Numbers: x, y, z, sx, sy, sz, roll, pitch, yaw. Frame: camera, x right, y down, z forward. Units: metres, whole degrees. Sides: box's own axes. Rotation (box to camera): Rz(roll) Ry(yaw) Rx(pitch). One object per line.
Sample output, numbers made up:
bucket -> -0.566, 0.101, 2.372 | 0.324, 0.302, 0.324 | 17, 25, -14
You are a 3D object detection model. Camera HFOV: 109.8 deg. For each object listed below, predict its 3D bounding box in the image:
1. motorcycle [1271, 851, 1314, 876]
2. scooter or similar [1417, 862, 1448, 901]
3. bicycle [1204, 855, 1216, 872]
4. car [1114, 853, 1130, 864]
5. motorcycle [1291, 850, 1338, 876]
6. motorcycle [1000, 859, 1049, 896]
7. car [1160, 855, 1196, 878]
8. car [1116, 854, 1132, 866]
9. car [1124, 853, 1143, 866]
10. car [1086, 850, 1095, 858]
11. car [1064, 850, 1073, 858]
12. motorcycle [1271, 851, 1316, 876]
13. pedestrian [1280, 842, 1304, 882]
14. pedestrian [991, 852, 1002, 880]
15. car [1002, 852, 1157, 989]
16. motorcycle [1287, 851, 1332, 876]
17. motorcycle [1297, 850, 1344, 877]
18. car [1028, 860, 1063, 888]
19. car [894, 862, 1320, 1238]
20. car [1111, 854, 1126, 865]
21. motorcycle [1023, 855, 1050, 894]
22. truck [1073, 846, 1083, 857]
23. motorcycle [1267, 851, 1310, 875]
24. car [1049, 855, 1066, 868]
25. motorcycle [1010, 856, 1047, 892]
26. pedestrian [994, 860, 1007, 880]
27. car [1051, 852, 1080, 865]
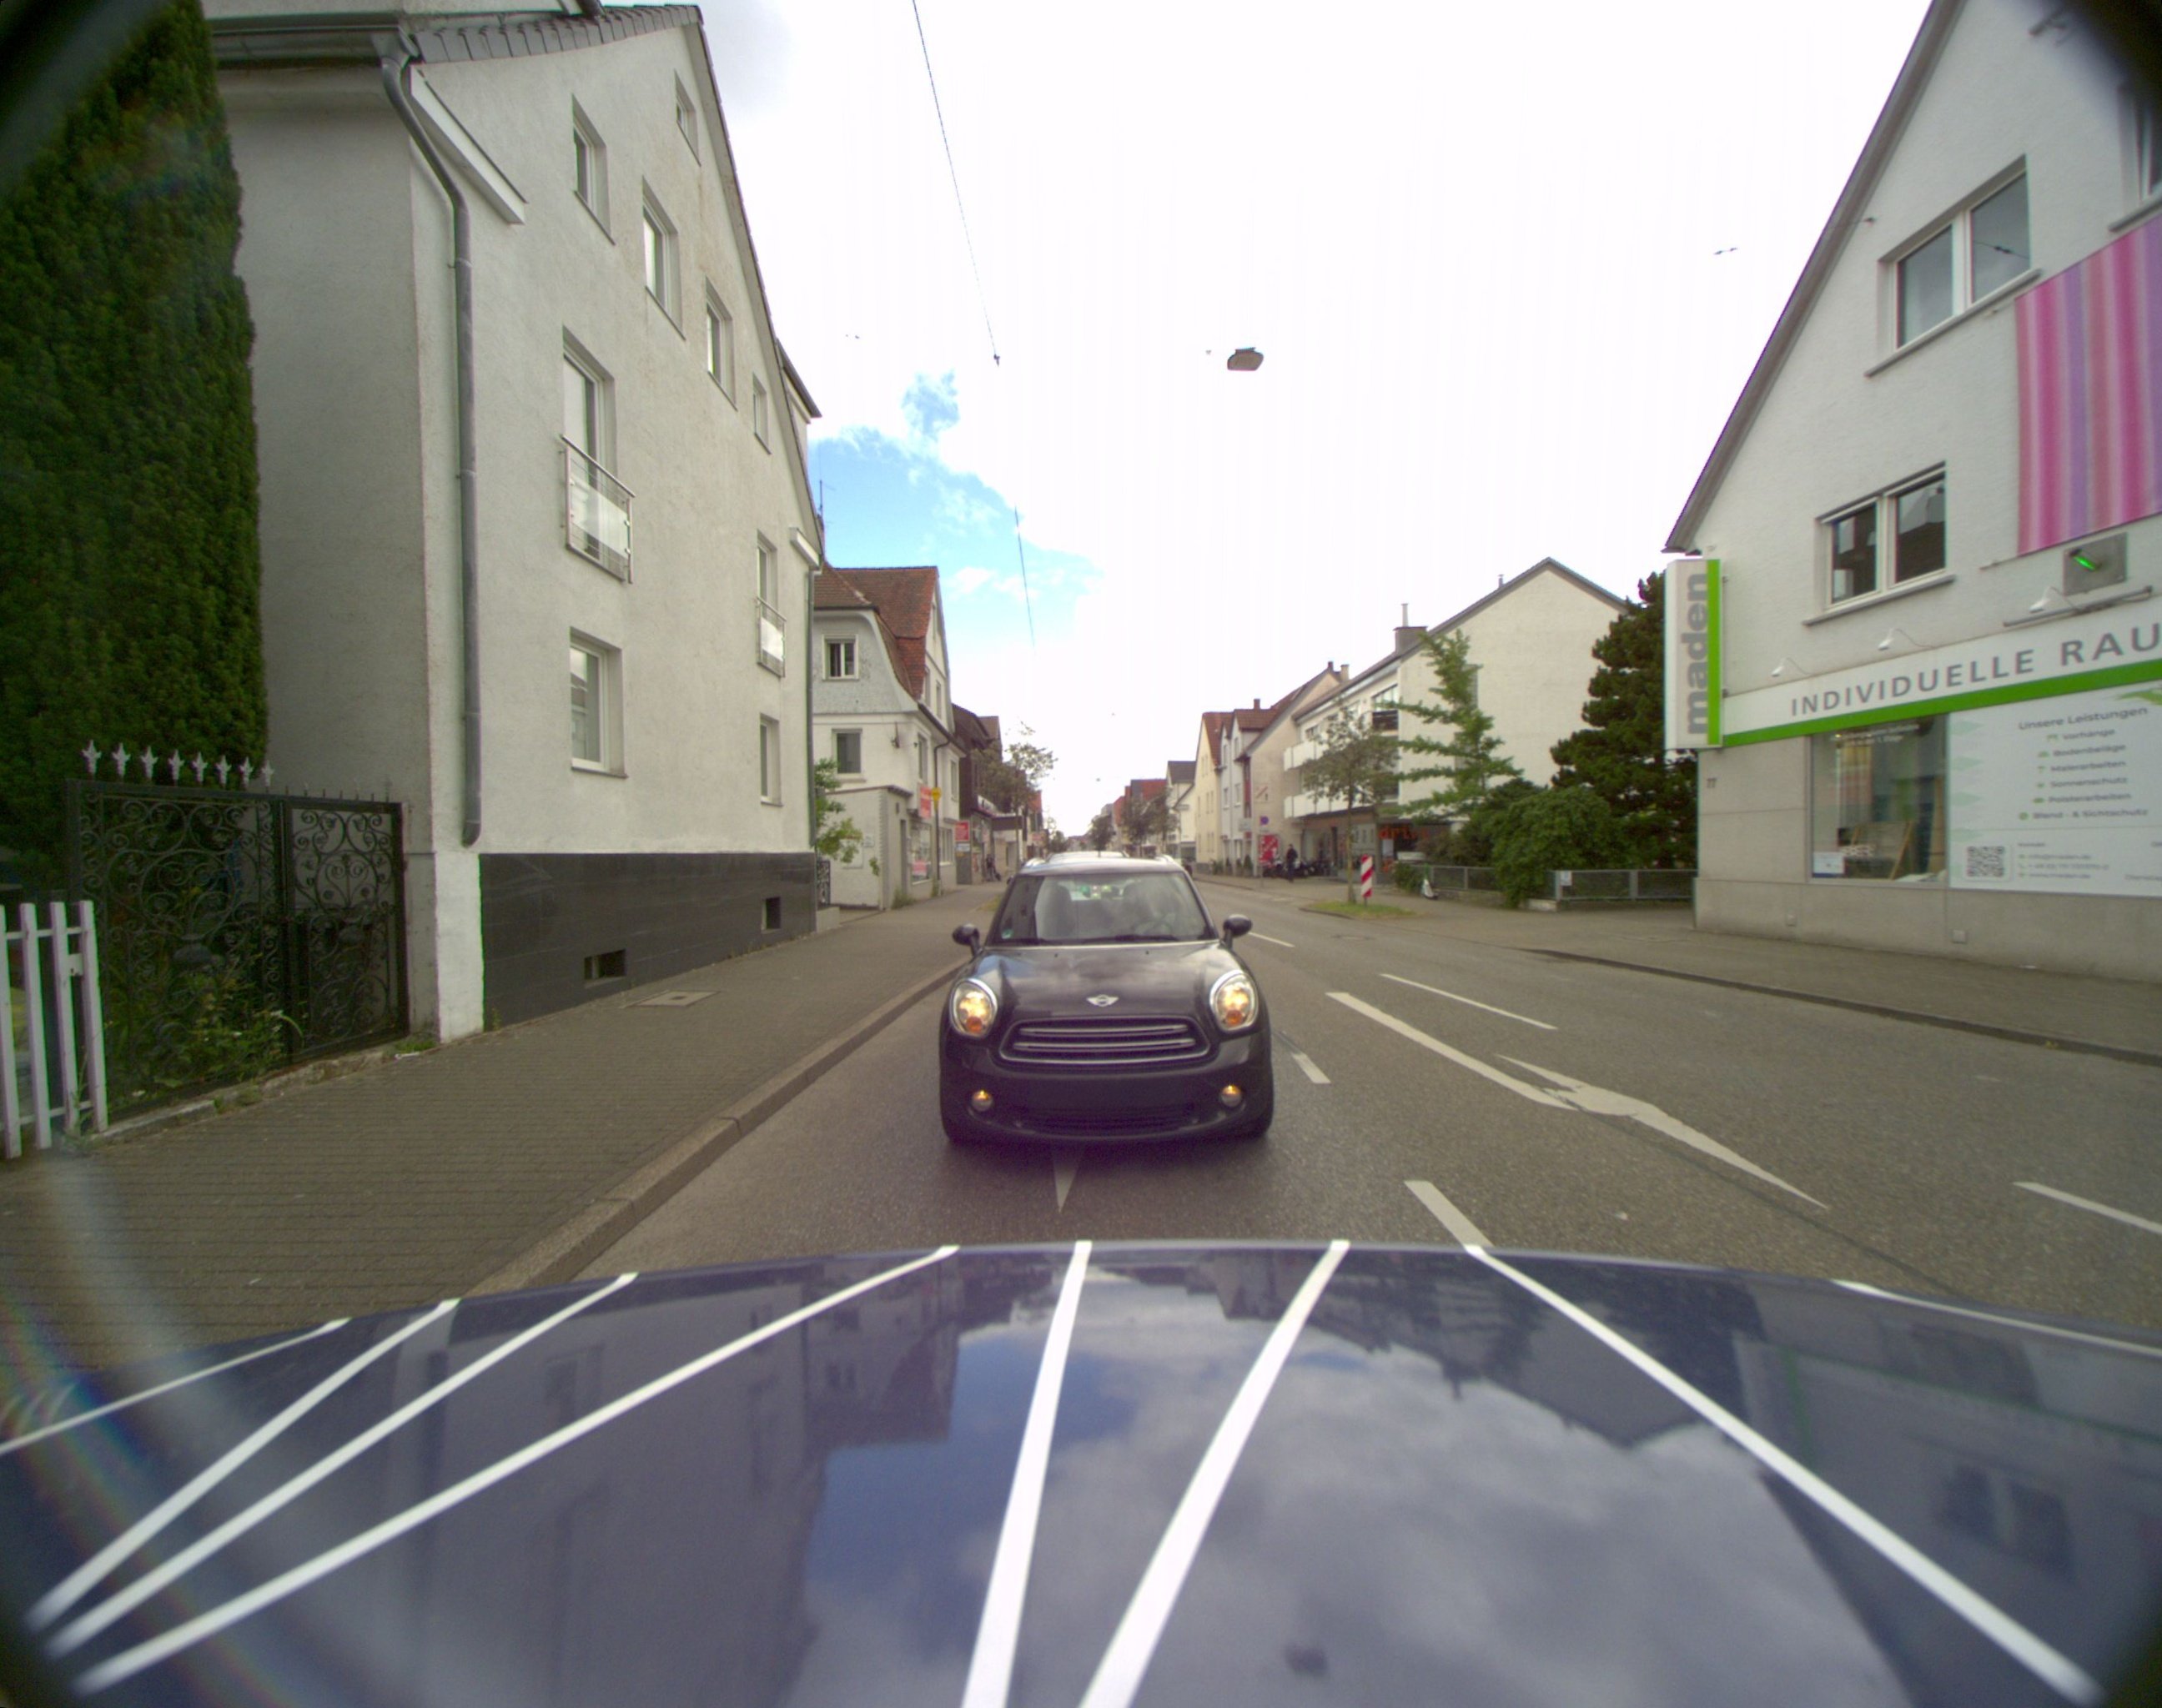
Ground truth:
motorcycle -> 12.022, 0.523, 43.258 | 2.231, 1.258, 0.613 | -4, 1, -2
scooter or similar -> 10.362, 0.804, 22.432 | 0.340, 1.105, 1.180 | -2, 1, 0
bicycle -> 9.411, 0.693, 55.472 | 0.515, 1.189, 2.023 | -2, 1, -1
car -> 5.469, 0.593, 102.146 | 1.716, 1.389, 3.899 | -2, 0, -2
motorcycle -> 12.554, 0.496, 40.883 | 2.231, 1.258, 0.613 | -4, 1, -2
motorcycle -> -2.207, 0.889, 29.330 | 0.777, 1.373, 2.237 | -2, 1, -37
car -> 6.441, 0.807, 50.977 | 1.792, 1.409, 4.340 | 0, 0, -1
car -> 5.470, 0.772, 97.157 | 1.716, 1.389, 3.899 | -2, 0, -2
car -> 5.913, 0.619, 86.509 | 1.716, 1.389, 3.899 | -2, 0, -2
car -> 2.295, -0.047, 186.111 | 1.855, 1.932, 4.489 | 1, 0, -2
car -> -3.180, -0.048, 190.283 | 2.059, 2.002, 4.186 | -2, 0, -1
motorcycle -> 11.848, 0.518, 42.403 | 2.231, 1.258, 0.699 | -4, 1, -2
pedestrian -> 10.292, 0.386, 37.063 | 0.753, 1.838, 1.019 | -5, 1, 0
pedestrian -> -5.104, 0.719, 46.014 | 0.644, 1.730, 0.742 | 0, 1, -6
car -> -0.001, 0.810, 11.715 | 1.855, 1.615, 4.736 | -2, 0, 0
motorcycle -> 12.545, 0.517, 41.671 | 2.231, 1.258, 0.613 | -4, 1, -2
motorcycle -> 12.585, 0.512, 40.003 | 2.231, 1.258, 0.613 | -4, 1, -2
car -> -1.983, 1.092, 43.113 | 1.830, 1.400, 4.564 | -2, 0, -1
car -> 0.044, 0.893, 5.748 | 1.855, 1.527, 4.735 | -2, 0, -2
car -> 5.262, 0.800, 107.792 | 1.716, 1.389, 3.899 | -2, 0, -2
motorcycle -> -1.831, 0.816, 31.827 | 0.672, 1.516, 2.599 | -2, 1, 6
truck -> -0.897, -0.610, 219.277 | 2.800, 3.020, 8.250 | -2, 0, 0
motorcycle -> 11.993, 0.520, 43.986 | 2.231, 1.258, 0.613 | -4, 1, -2
car -> -2.621, 0.846, 85.516 | 1.794, 1.356, 3.948 | 1, 0, 0
motorcycle -> -2.257, 0.846, 32.926 | 0.648, 1.432, 2.472 | -1, 1, 19
pedestrian -> -4.953, 1.001, 46.824 | 0.742, 1.204, 0.644 | 0, 1, -1
car -> -2.320, 0.636, 112.801 | 3.989, 1.772, 2.004 | -1, 1, 39
